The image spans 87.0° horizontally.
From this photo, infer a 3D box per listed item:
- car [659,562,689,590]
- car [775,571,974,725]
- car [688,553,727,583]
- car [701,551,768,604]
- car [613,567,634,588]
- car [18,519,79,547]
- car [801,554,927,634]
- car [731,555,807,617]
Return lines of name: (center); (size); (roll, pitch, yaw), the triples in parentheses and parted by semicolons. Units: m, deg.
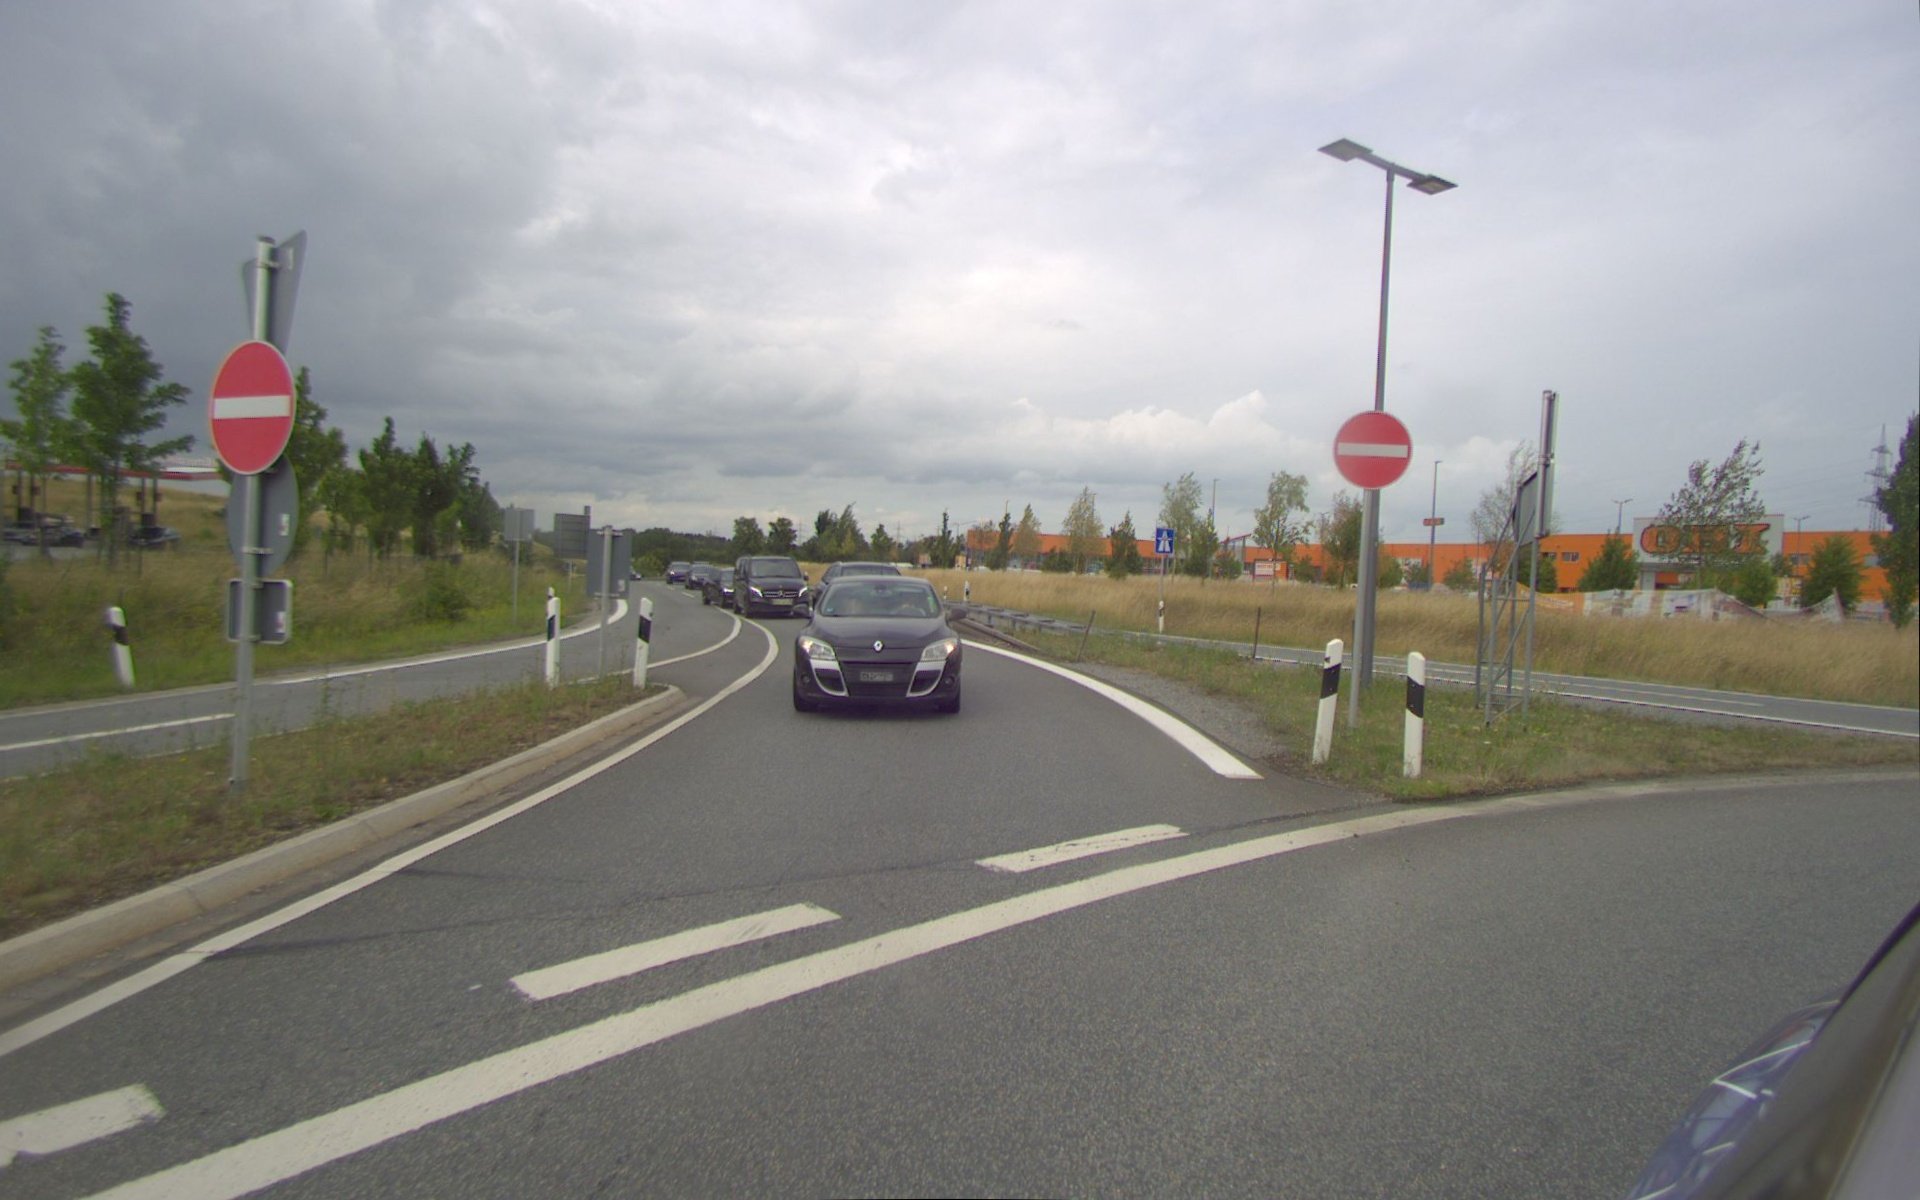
car: (-20.951, -1.778, 73.974); (1.726, 1.906, 4.009); (0, 2, -22)
car: (-0.868, 0.383, 11.372); (1.808, 1.387, 4.148); (1, 2, -2)
car: (-14.972, -1.881, 59.907); (1.726, 1.684, 4.009); (0, 2, -21)
car: (-8.666, -0.878, 38.613); (1.768, 1.906, 4.009); (0, 2, -23)
car: (-32.579, -2.205, 98.047); (1.726, 1.906, 4.009); (0, 2, -21)
car: (-56.372, -4.122, 62.641); (1.762, 1.557, 3.670); (0, 2, -24)
car: (-2.236, -0.194, 22.440); (1.844, 1.602, 4.287); (0, 2, -18)
car: (-5.966, -0.477, 31.229); (1.686, 1.742, 4.757); (0, 2, -18)
